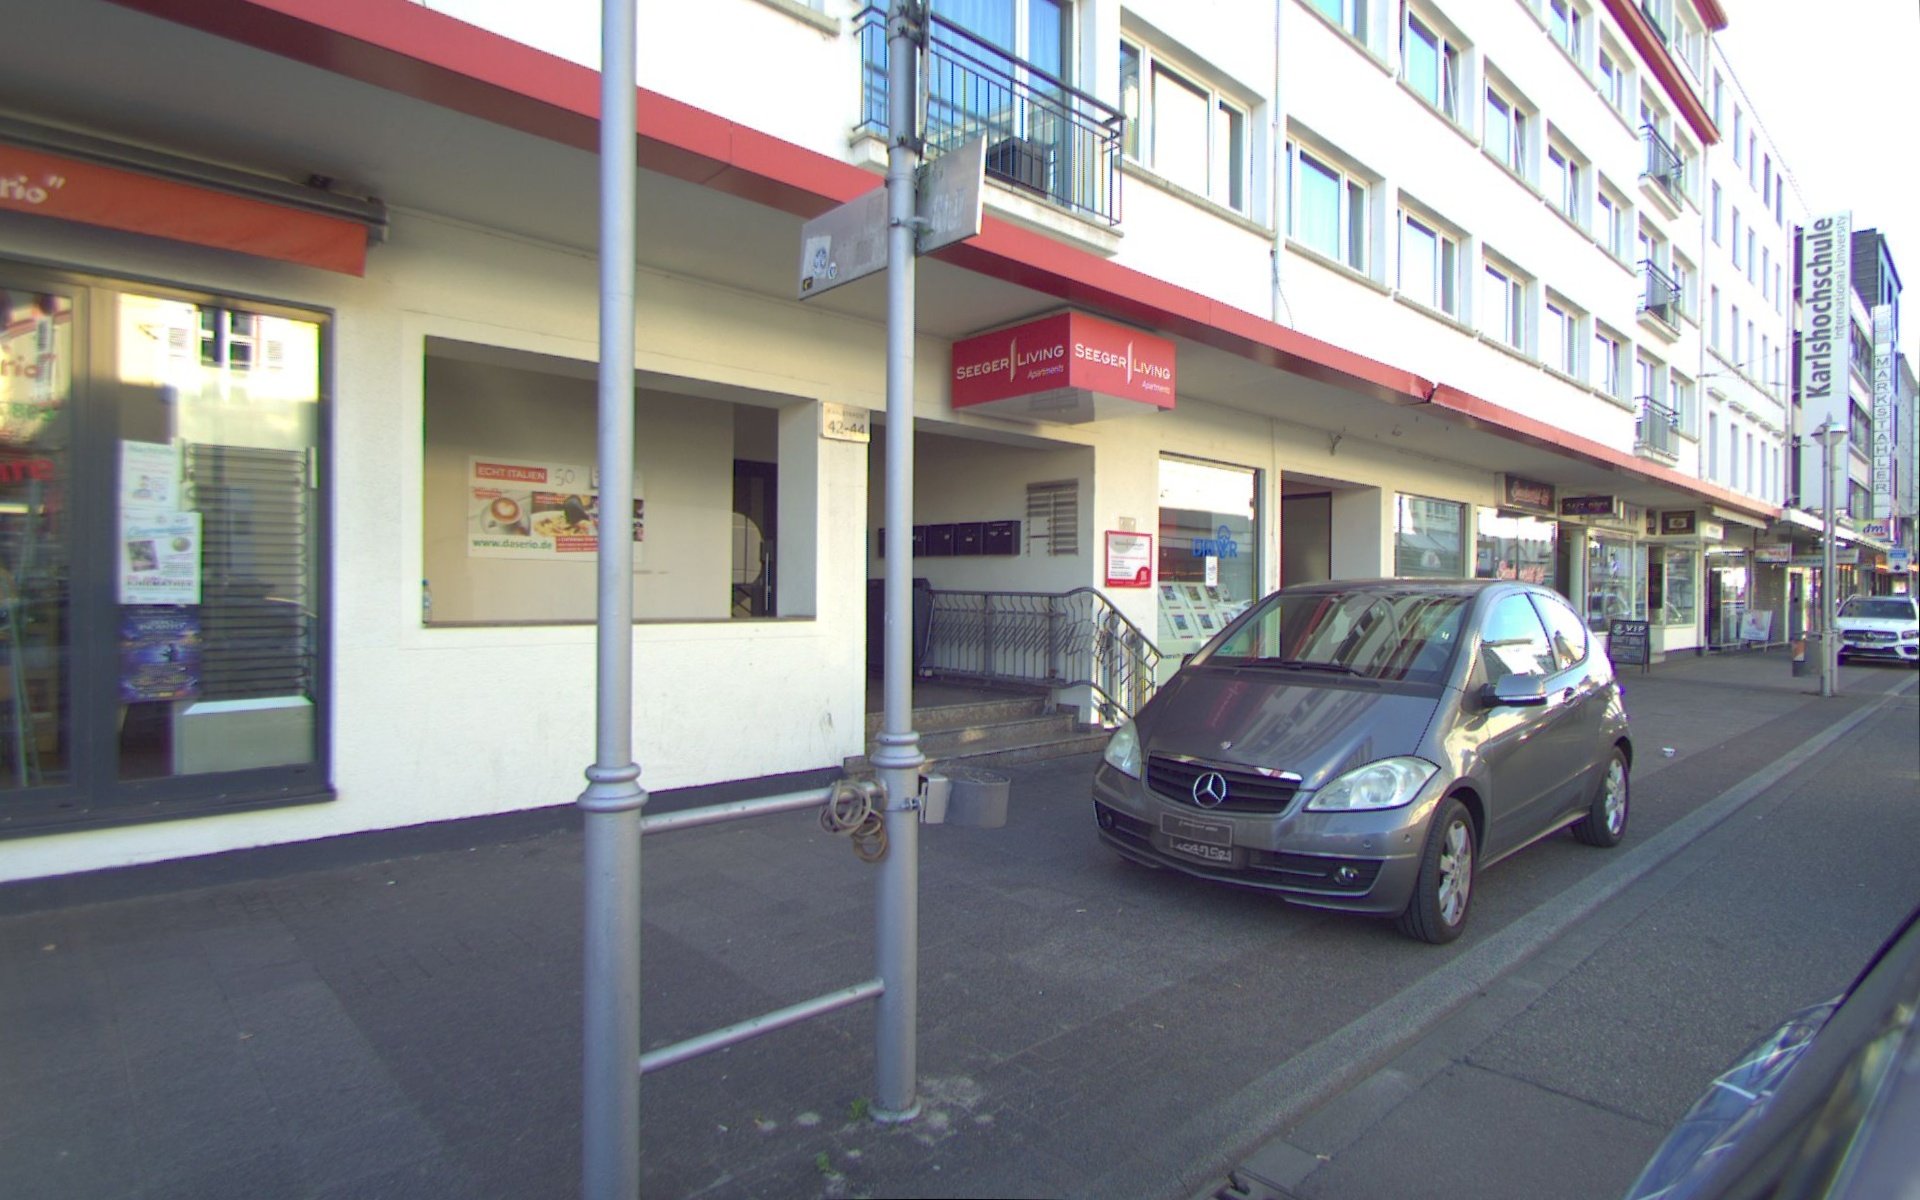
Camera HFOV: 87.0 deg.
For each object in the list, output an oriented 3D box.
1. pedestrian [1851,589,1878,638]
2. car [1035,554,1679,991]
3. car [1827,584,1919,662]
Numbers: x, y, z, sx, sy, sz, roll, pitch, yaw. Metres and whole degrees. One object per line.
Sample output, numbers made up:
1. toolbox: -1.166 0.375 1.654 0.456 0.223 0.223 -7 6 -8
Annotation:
1. pedestrian: 34.303 0.493 38.376 0.794 1.840 0.704 0 0 -44
2. car: 2.410 0.578 5.642 3.893 1.588 1.780 -1 2 -42
3. car: 22.200 0.472 24.123 4.092 1.684 1.781 -1 2 -42
